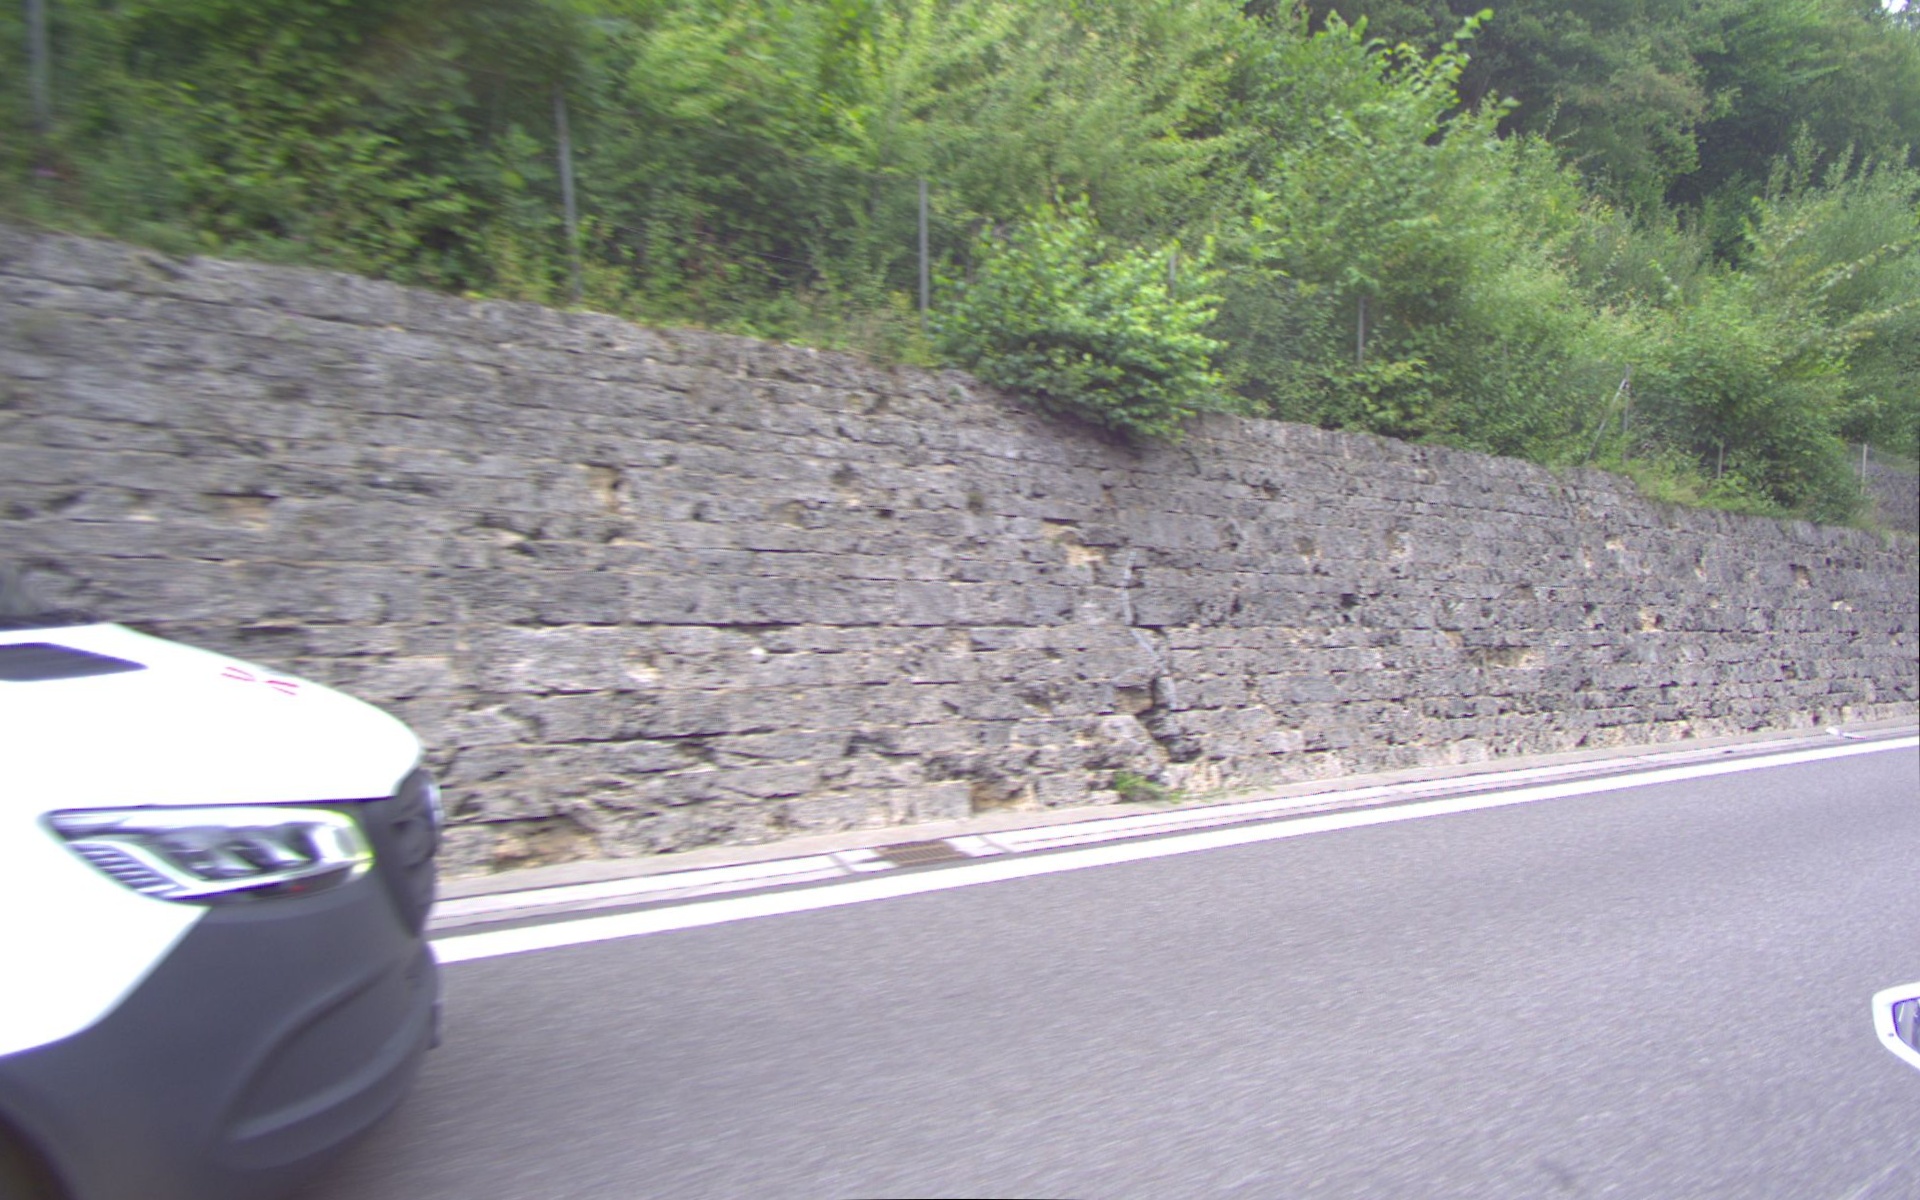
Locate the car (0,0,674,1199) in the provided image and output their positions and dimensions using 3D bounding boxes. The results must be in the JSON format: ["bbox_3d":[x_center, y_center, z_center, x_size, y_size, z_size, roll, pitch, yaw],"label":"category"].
[{"bbox_3d":[-3.768,0.095,1.289,6.204,2.619,2.015,2,-1,-31],"label":"car"}]
